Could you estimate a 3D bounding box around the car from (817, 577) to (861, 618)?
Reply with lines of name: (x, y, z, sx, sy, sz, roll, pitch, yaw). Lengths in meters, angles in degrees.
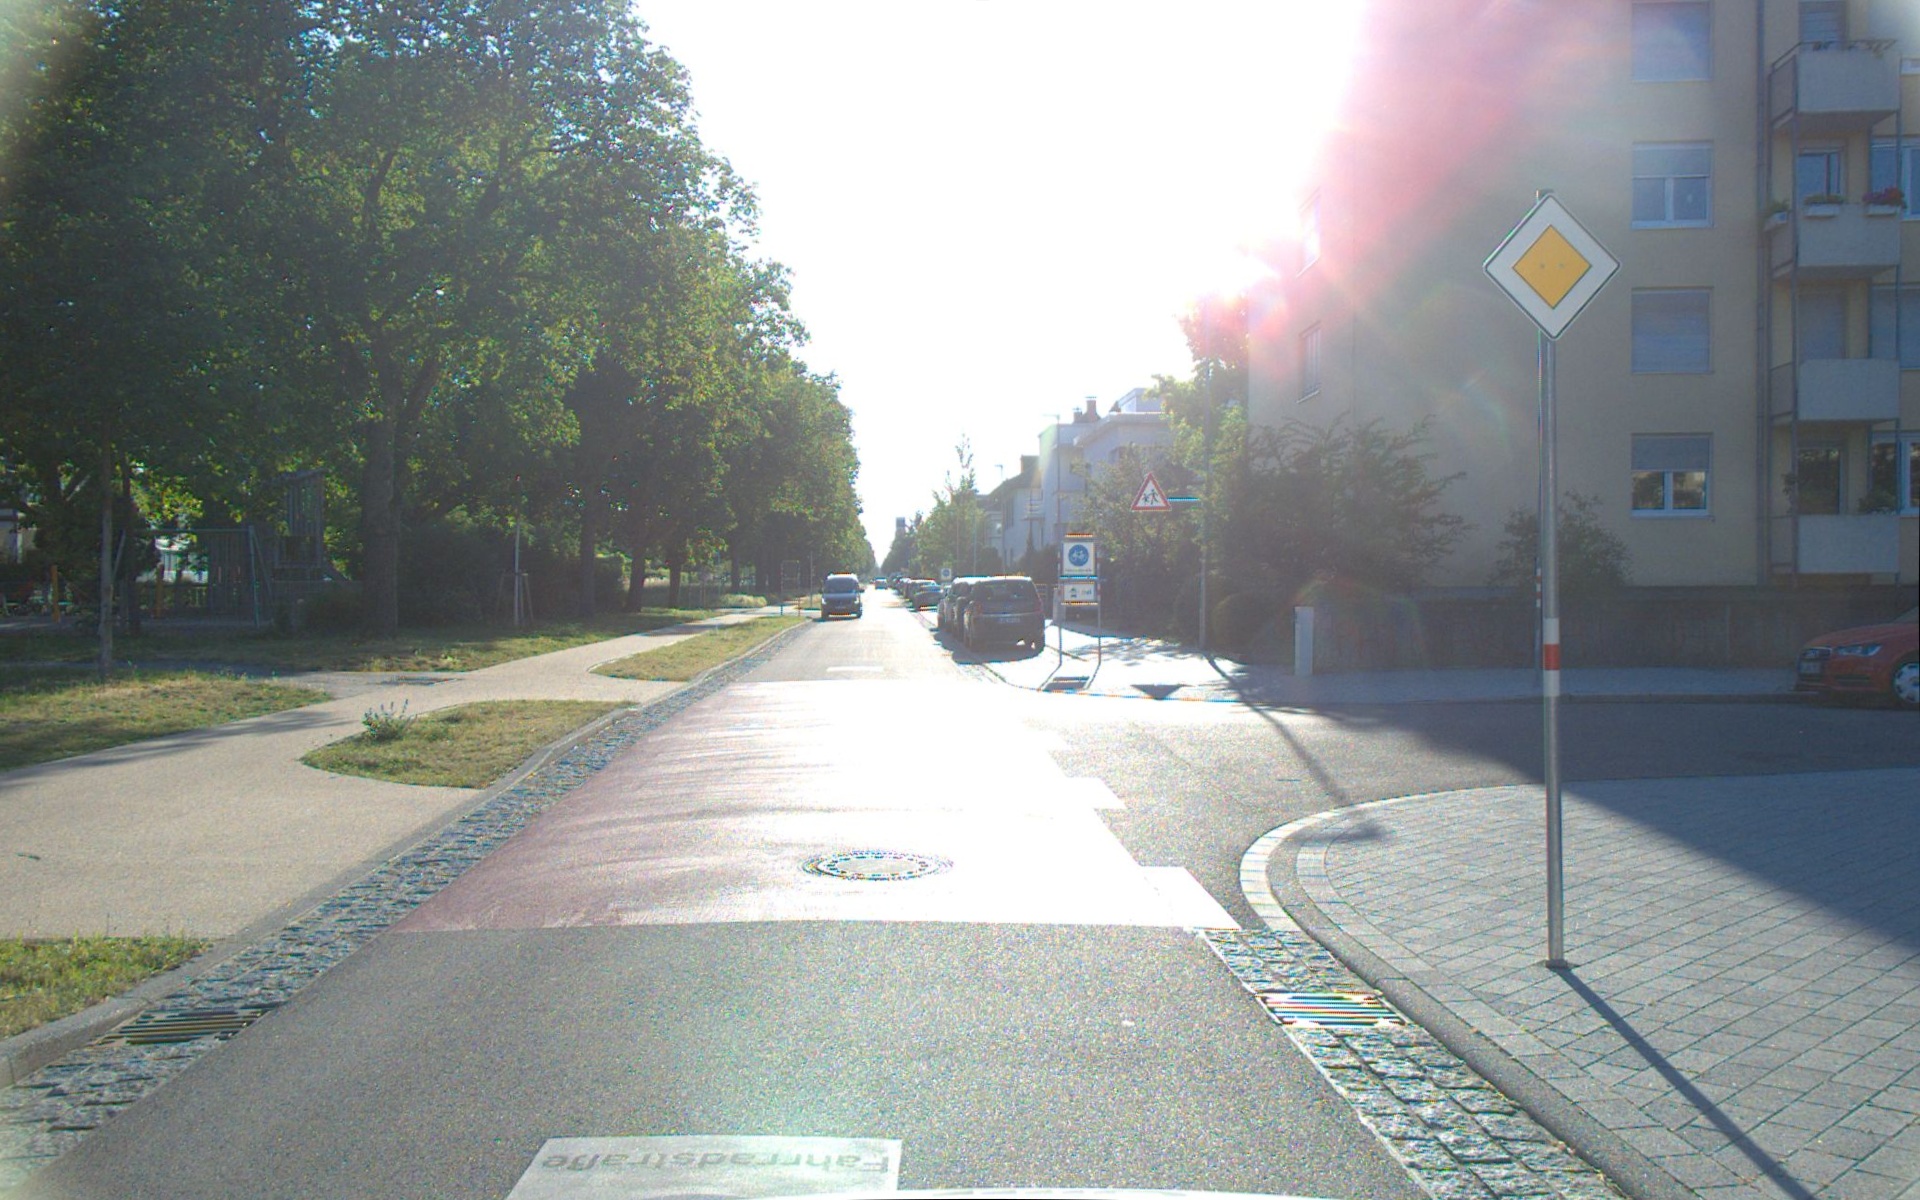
car: (-5.295, -0.139, 72.801, 1.789, 1.698, 4.247, -1, 1, -3)

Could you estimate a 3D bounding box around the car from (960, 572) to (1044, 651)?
car: (0.932, 0.235, 38.643, 1.594, 1.698, 4.247, -1, 1, -3)

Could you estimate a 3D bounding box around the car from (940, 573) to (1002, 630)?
car: (0.355, 0.026, 54.602, 1.953, 1.747, 4.000, -1, 1, 0)

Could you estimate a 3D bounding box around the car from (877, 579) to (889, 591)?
car: (-11.111, -2.138, 238.113, 1.594, 1.698, 4.247, -1, 1, -3)

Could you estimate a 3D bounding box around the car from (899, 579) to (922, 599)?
car: (-3.743, -0.803, 123.450, 1.594, 1.434, 4.247, -1, 1, -3)

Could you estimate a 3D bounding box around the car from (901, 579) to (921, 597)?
car: (-4.173, -1.031, 139.874, 1.594, 1.434, 4.247, -1, 1, -3)

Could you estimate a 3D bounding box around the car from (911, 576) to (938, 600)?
car: (-2.245, -0.774, 103.800, 1.594, 1.434, 4.247, -1, 1, -3)

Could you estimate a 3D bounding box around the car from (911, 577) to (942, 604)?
car: (-1.897, -0.522, 92.011, 1.594, 1.434, 4.247, -1, 1, -3)

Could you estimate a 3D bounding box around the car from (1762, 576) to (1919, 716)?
car: (12.131, 0.492, 19.776, 4.108, 1.557, 2.000, -1, 0, 1)

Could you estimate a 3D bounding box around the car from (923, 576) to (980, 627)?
car: (-0.280, 0.024, 59.440, 1.953, 1.747, 4.000, -1, 1, 0)

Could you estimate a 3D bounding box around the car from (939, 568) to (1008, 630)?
car: (0.393, -0.060, 49.760, 1.953, 1.747, 4.000, -1, 1, 0)
